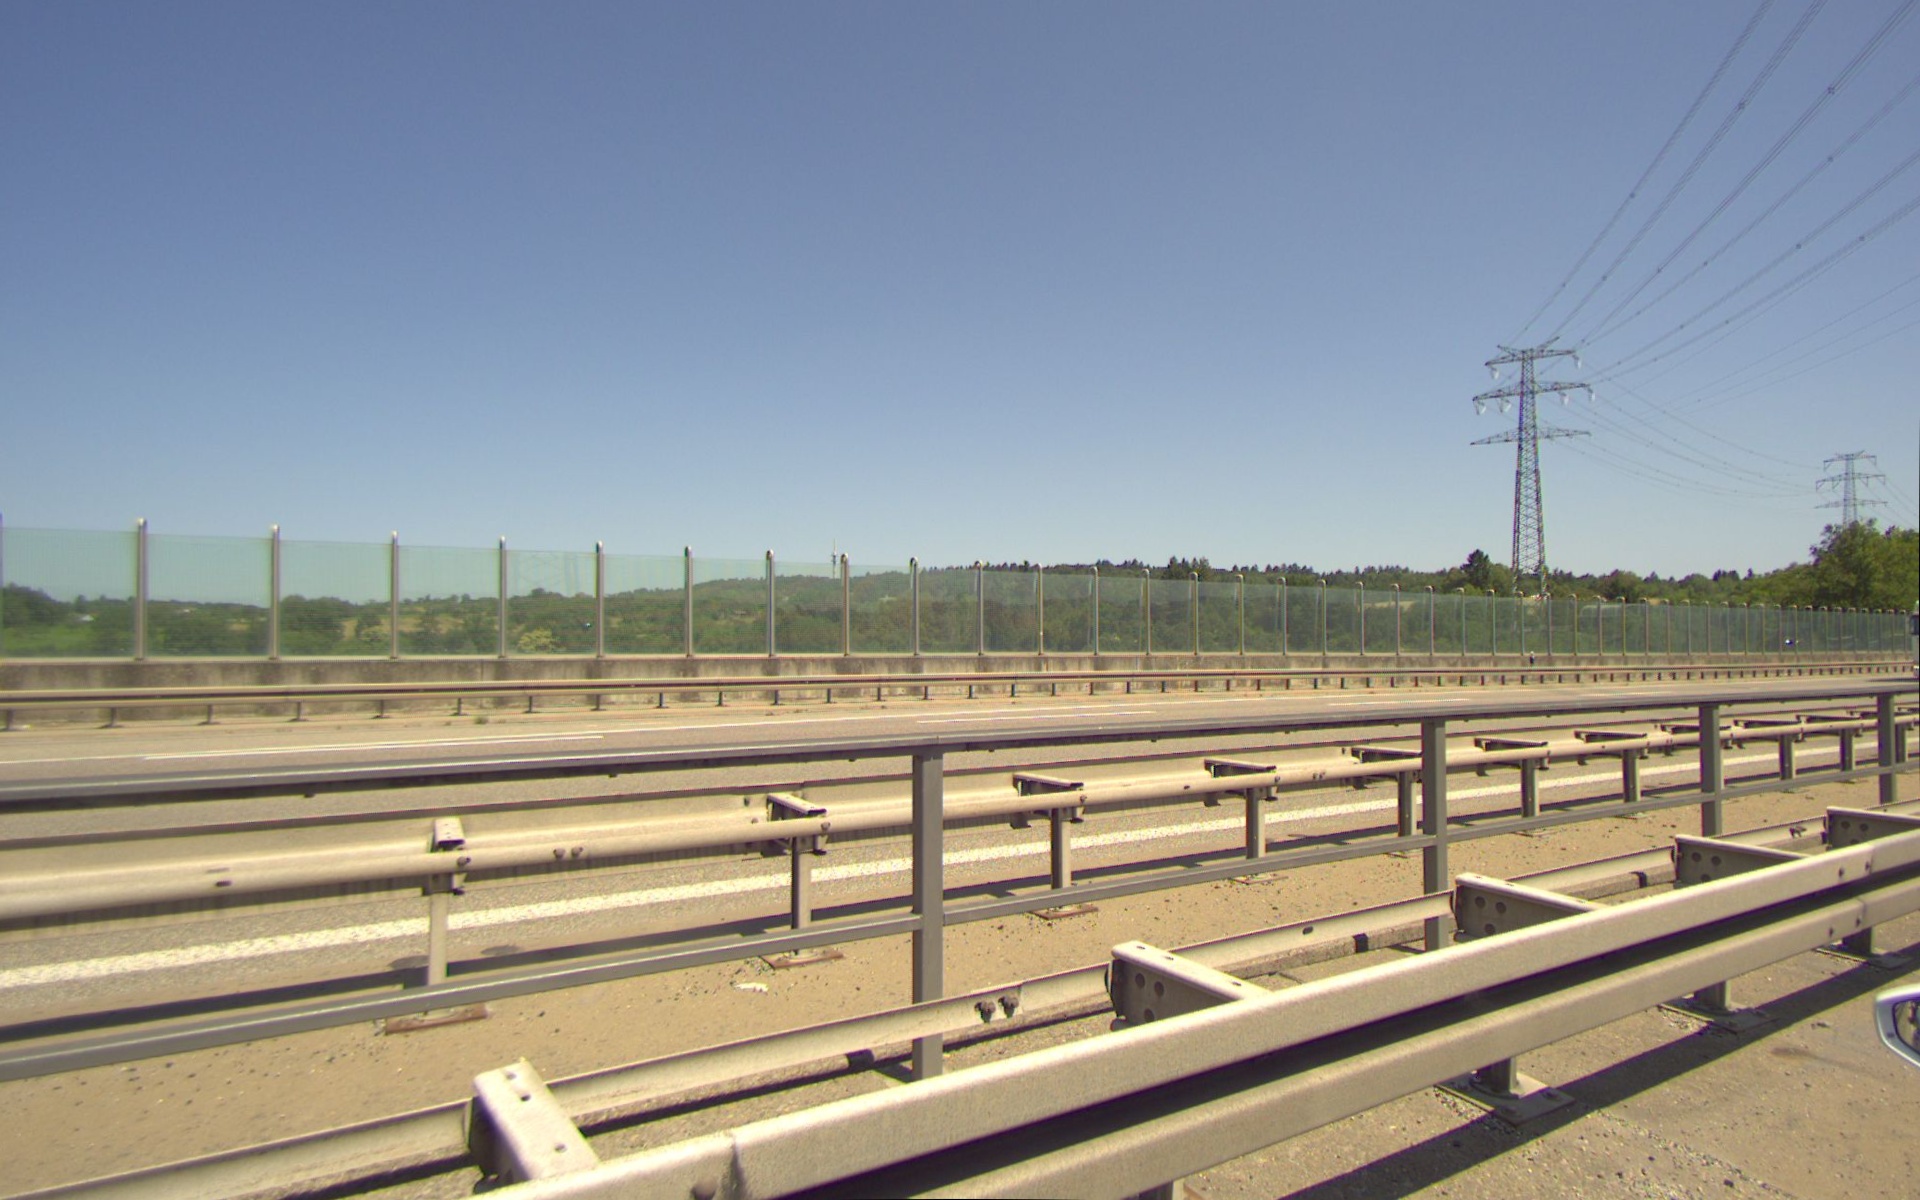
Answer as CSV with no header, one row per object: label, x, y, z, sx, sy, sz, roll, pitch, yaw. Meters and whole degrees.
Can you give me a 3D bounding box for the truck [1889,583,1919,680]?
truck,46.393,1.511,46.526,6.776,4.348,2.917,2,-4,-30
